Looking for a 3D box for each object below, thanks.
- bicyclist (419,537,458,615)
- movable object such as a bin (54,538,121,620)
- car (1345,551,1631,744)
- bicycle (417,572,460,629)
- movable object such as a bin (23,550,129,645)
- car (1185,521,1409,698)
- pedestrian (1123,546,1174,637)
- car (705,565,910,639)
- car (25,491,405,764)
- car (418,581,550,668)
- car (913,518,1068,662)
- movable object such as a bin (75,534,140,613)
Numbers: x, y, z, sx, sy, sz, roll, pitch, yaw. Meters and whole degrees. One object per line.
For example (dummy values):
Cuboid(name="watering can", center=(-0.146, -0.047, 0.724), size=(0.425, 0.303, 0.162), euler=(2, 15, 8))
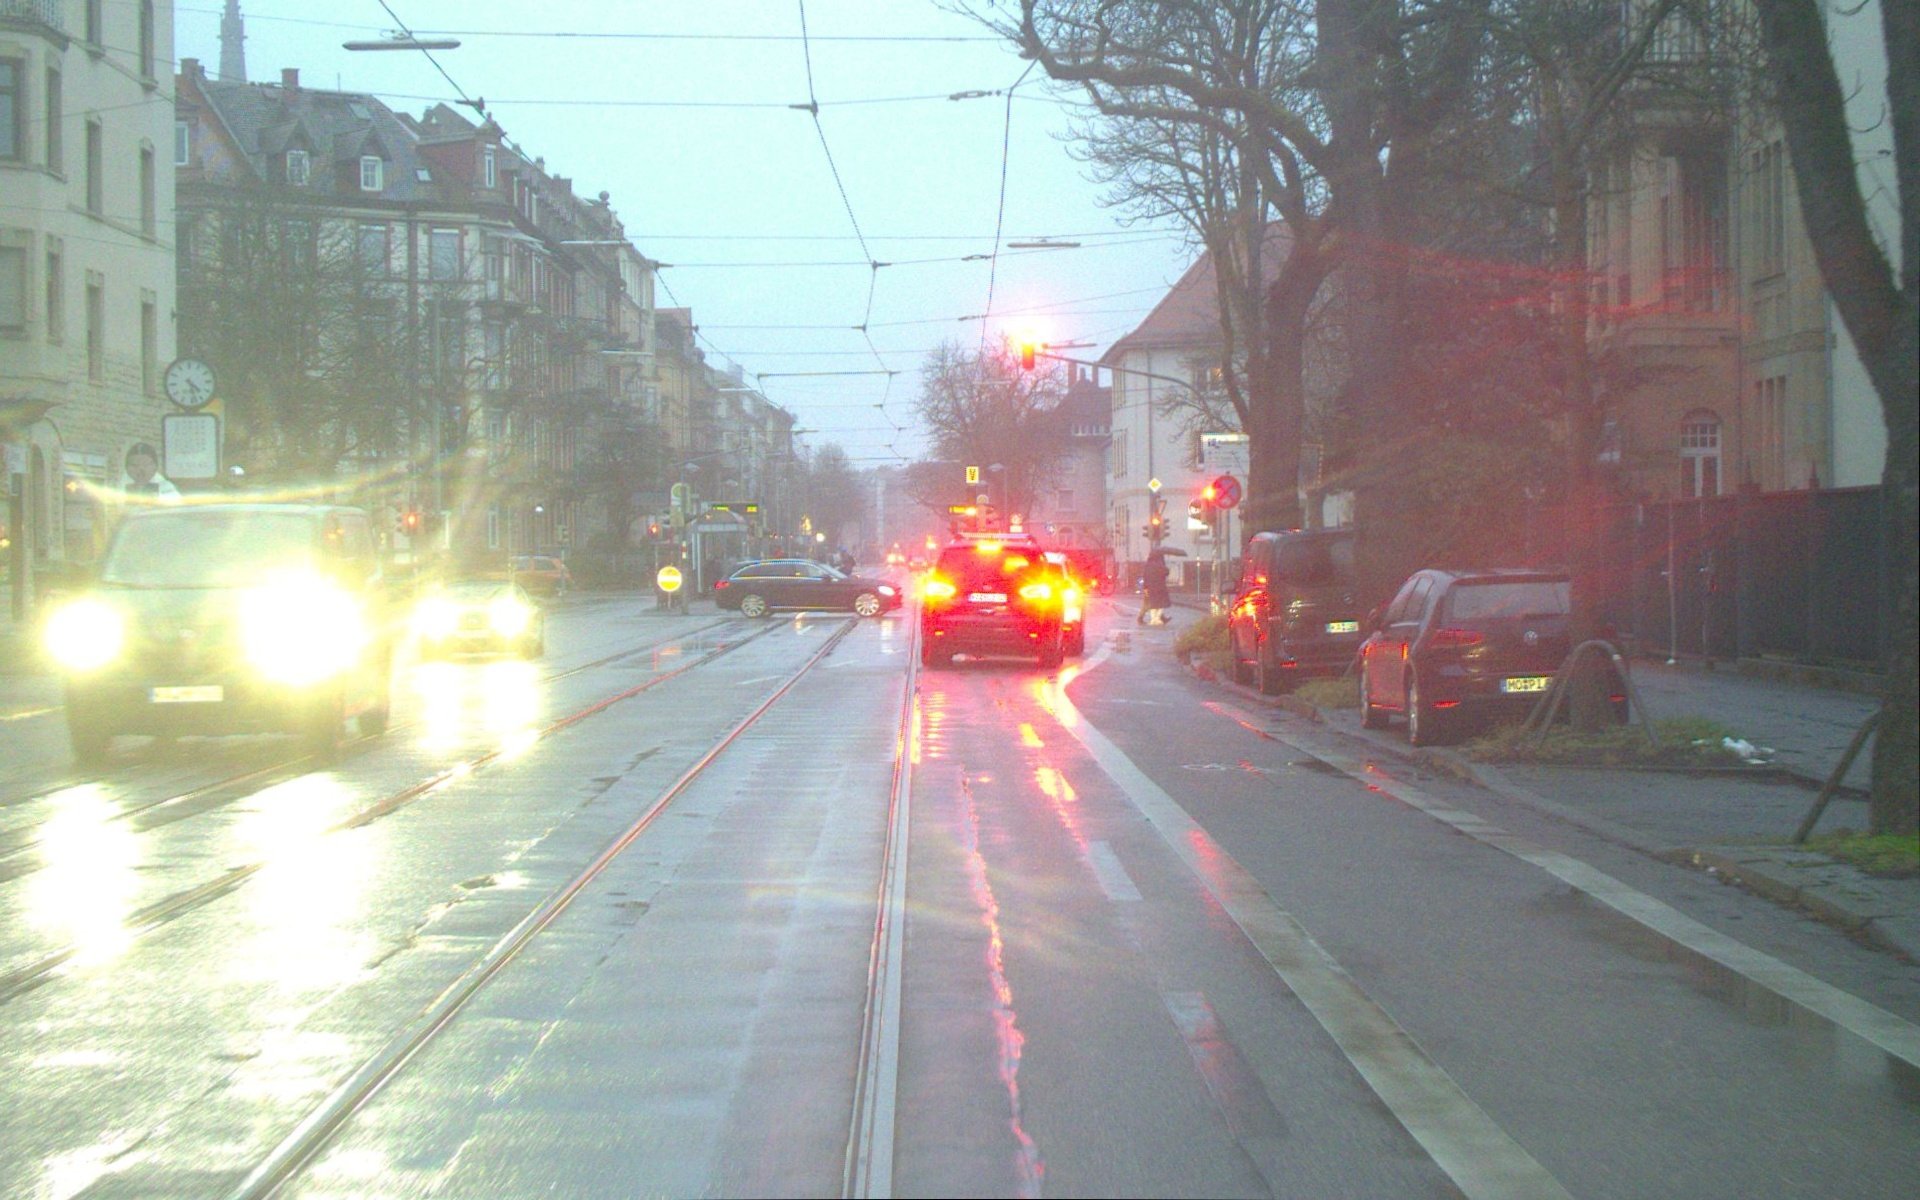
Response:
Cuboid(name="bicyclist", center=(-10.855, -0.509, 71.581), size=(0.716, 1.597, 0.931), euler=(-1, 1, -5))
Cuboid(name="movable object such as a bin", center=(-17.465, -0.421, 68.853), size=(1.014, 1.595, 1.081), euler=(-1, 1, 2))
Cuboid(name="car", center=(4.374, 0.345, 29.033), size=(1.677, 1.455, 4.043), euler=(-1, 1, -1))
Cuboid(name="bicycle", center=(-10.844, 0.000, 71.547), size=(0.716, 1.106, 2.065), euler=(-1, 2, -4))
Cuboid(name="movable object such as a bin", center=(-14.873, -0.050, 57.870), size=(1.409, 1.525, 1.365), euler=(-1, 2, -1))
Cuboid(name="car", center=(3.901, 0.047, 40.619), size=(1.993, 1.894, 5.027), euler=(-1, 2, -1))
Cuboid(name="pedestrian", center=(4.281, -0.199, 78.204), size=(1.022, 2.007, 0.919), euler=(-1, 1, -4))
Cuboid(name="car", center=(-3.768, 0.045, 85.354), size=(4.945, 1.711, 1.698), euler=(-1, 2, 1))
Cuboid(name="car", center=(-5.746, 0.124, 27.184), size=(2.046, 1.915, 5.100), euler=(-1, 2, -2))
Cuboid(name="car", center=(-7.439, 0.360, 54.032), size=(1.660, 1.194, 3.875), euler=(-1, 2, -2))
Cuboid(name="car", center=(0.374, -0.130, 48.152), size=(1.993, 1.890, 4.759), euler=(1, 0, -1))
Cuboid(name="movable object such as a bin", center=(-17.611, -0.555, 71.045), size=(1.014, 1.595, 1.081), euler=(-1, 1, 2))
